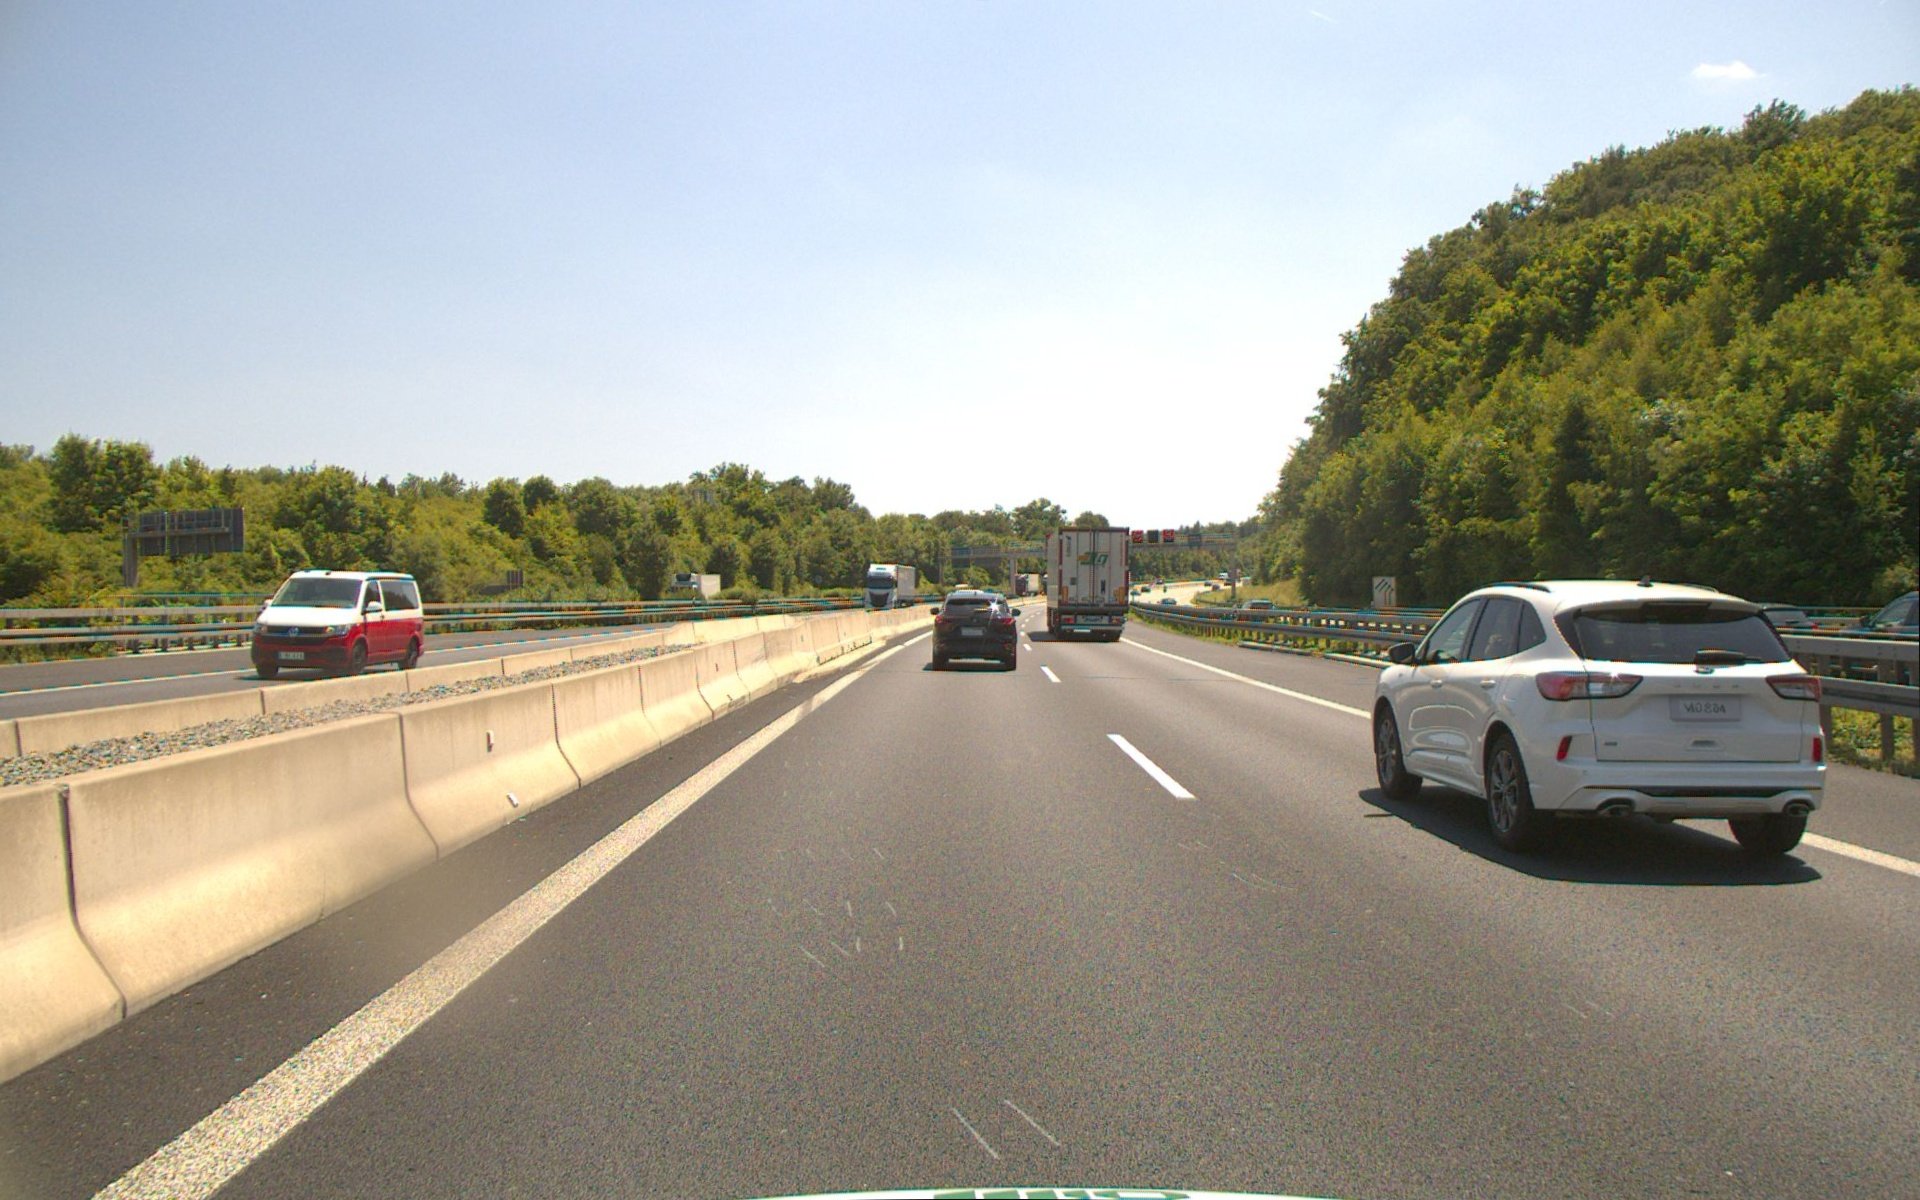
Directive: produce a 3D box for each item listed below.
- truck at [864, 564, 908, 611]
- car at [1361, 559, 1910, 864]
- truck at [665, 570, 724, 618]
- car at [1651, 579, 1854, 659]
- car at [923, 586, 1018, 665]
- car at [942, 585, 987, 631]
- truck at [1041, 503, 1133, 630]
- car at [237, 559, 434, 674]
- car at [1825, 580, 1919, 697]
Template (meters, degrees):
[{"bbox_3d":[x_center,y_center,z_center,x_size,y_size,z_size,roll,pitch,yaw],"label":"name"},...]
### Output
[{"bbox_3d":[-6.473,-1.027,146.402,2.640,4.029,10.782,0,-1,4],"label":"truck"},{"bbox_3d":[4.298,0.642,11.431,1.953,1.691,4.467,0,-1,0],"label":"car"},{"bbox_3d":[-23.051,-0.481,144.045,2.640,4.029,10.782,0,-1,4],"label":"truck"},{"bbox_3d":[18.042,0.410,37.977,1.954,1.691,5.225,0,0,-3],"label":"car"},{"bbox_3d":[0.176,0.546,35.757,1.744,1.605,3.996,0,-1,-4],"label":"car"},{"bbox_3d":[0.177,0.362,80.246,1.954,2.048,3.998,-3,0,-2],"label":"car"},{"bbox_3d":[4.792,-1.120,64.753,2.969,4.496,12.020,0,-1,1],"label":"truck"},{"bbox_3d":[-12.049,0.327,32.342,1.953,2.049,5.377,0,-1,-2],"label":"car"},{"bbox_3d":[14.915,0.560,23.791,1.953,1.691,5.625,0,-1,-1],"label":"car"}]
